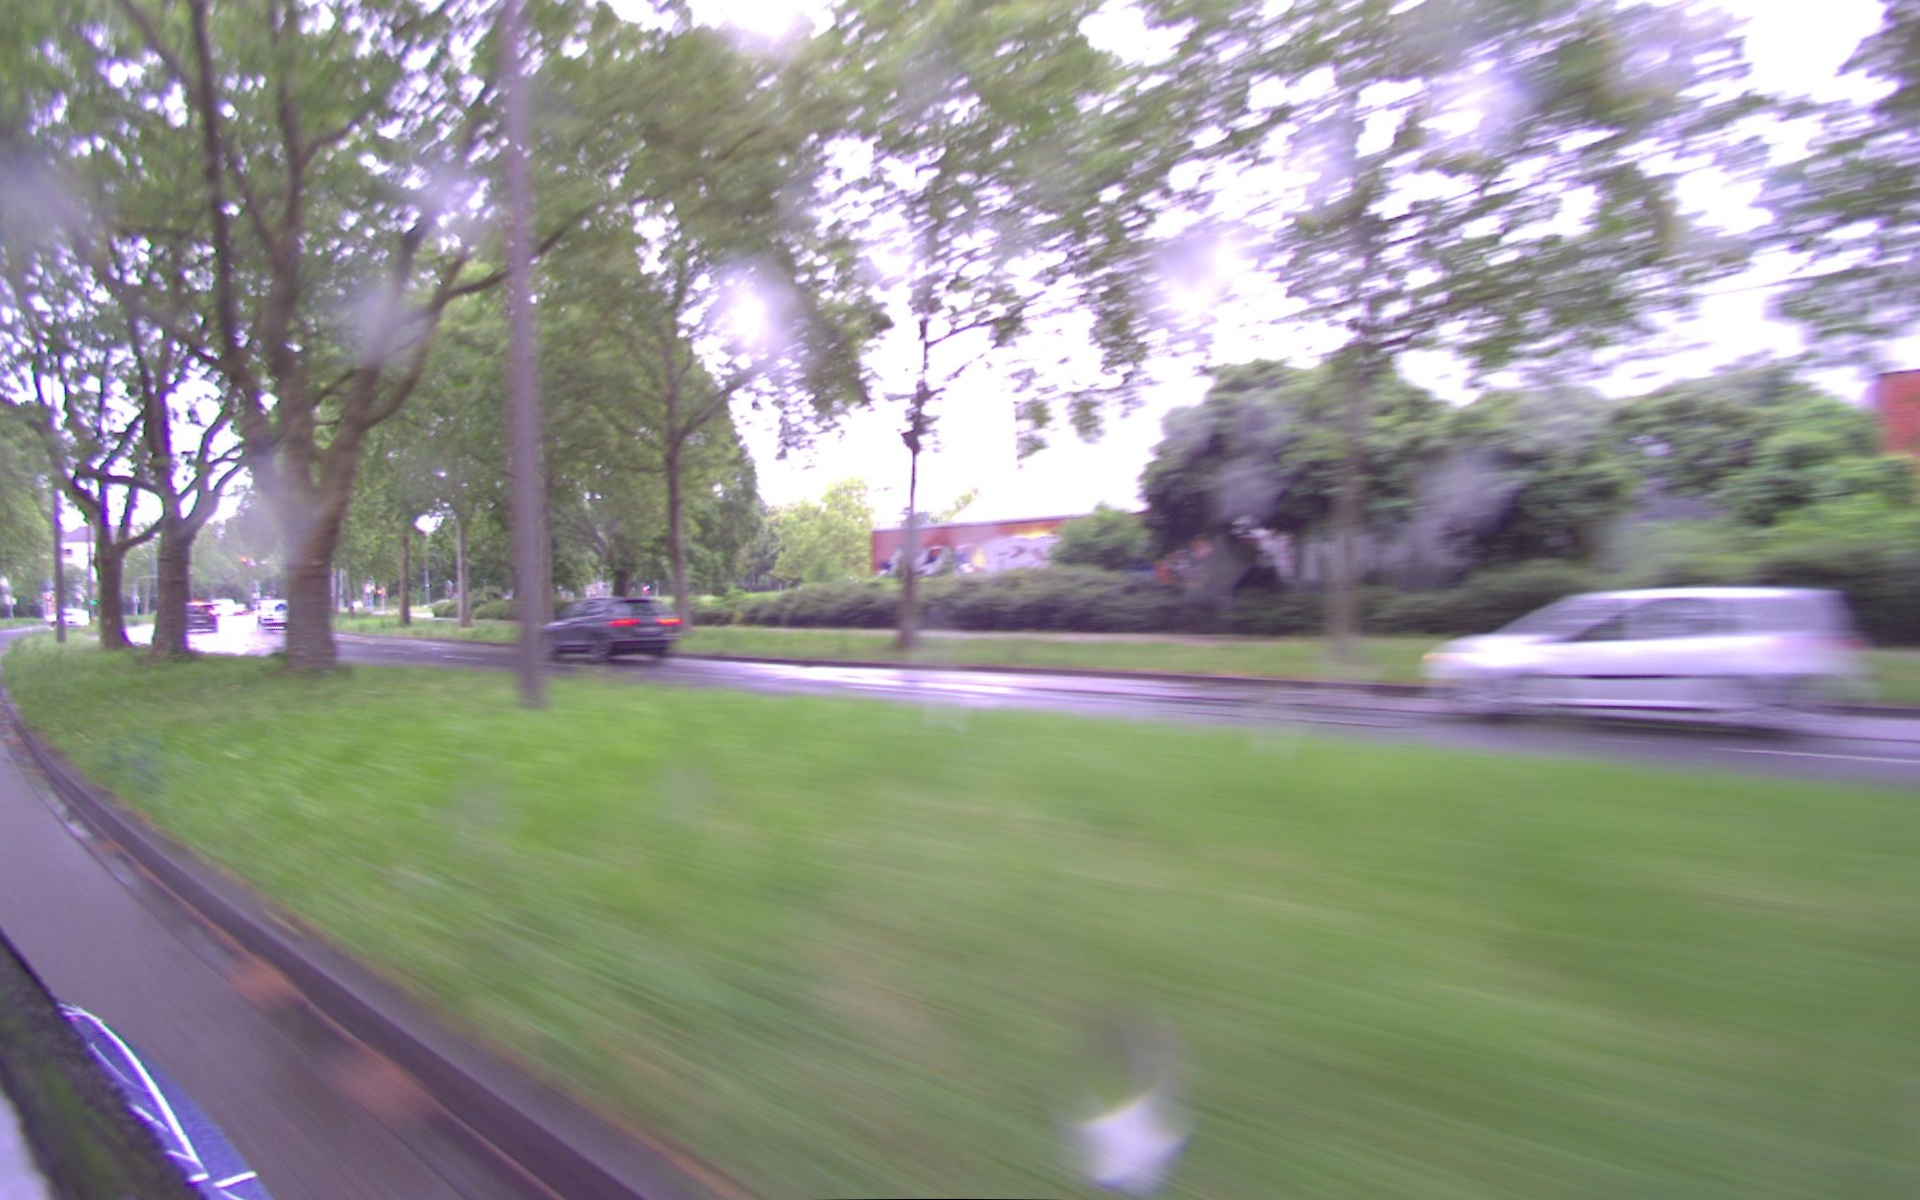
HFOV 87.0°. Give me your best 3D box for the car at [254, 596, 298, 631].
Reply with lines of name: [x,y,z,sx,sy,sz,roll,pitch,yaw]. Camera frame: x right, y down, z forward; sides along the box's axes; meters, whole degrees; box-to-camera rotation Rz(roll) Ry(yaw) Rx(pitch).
car: [-46.315,0.855,68.615,2.002,2.243,5.451,-2,1,-30]

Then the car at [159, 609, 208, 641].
car: [-48.730,1.531,63.573,2.002,1.749,4.968,-2,1,-33]

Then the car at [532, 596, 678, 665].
car: [-9.118,0.718,25.807,4.370,1.573,1.724,0,1,45]

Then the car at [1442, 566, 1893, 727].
car: [7.624,0.423,11.197,3.838,1.470,1.726,-1,1,39]

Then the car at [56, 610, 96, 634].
car: [-67.997,1.688,77.869,1.968,1.641,4.532,-3,2,-37]

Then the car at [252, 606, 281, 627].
car: [-60.273,1.428,87.909,1.967,1.643,4.343,-3,2,-35]
